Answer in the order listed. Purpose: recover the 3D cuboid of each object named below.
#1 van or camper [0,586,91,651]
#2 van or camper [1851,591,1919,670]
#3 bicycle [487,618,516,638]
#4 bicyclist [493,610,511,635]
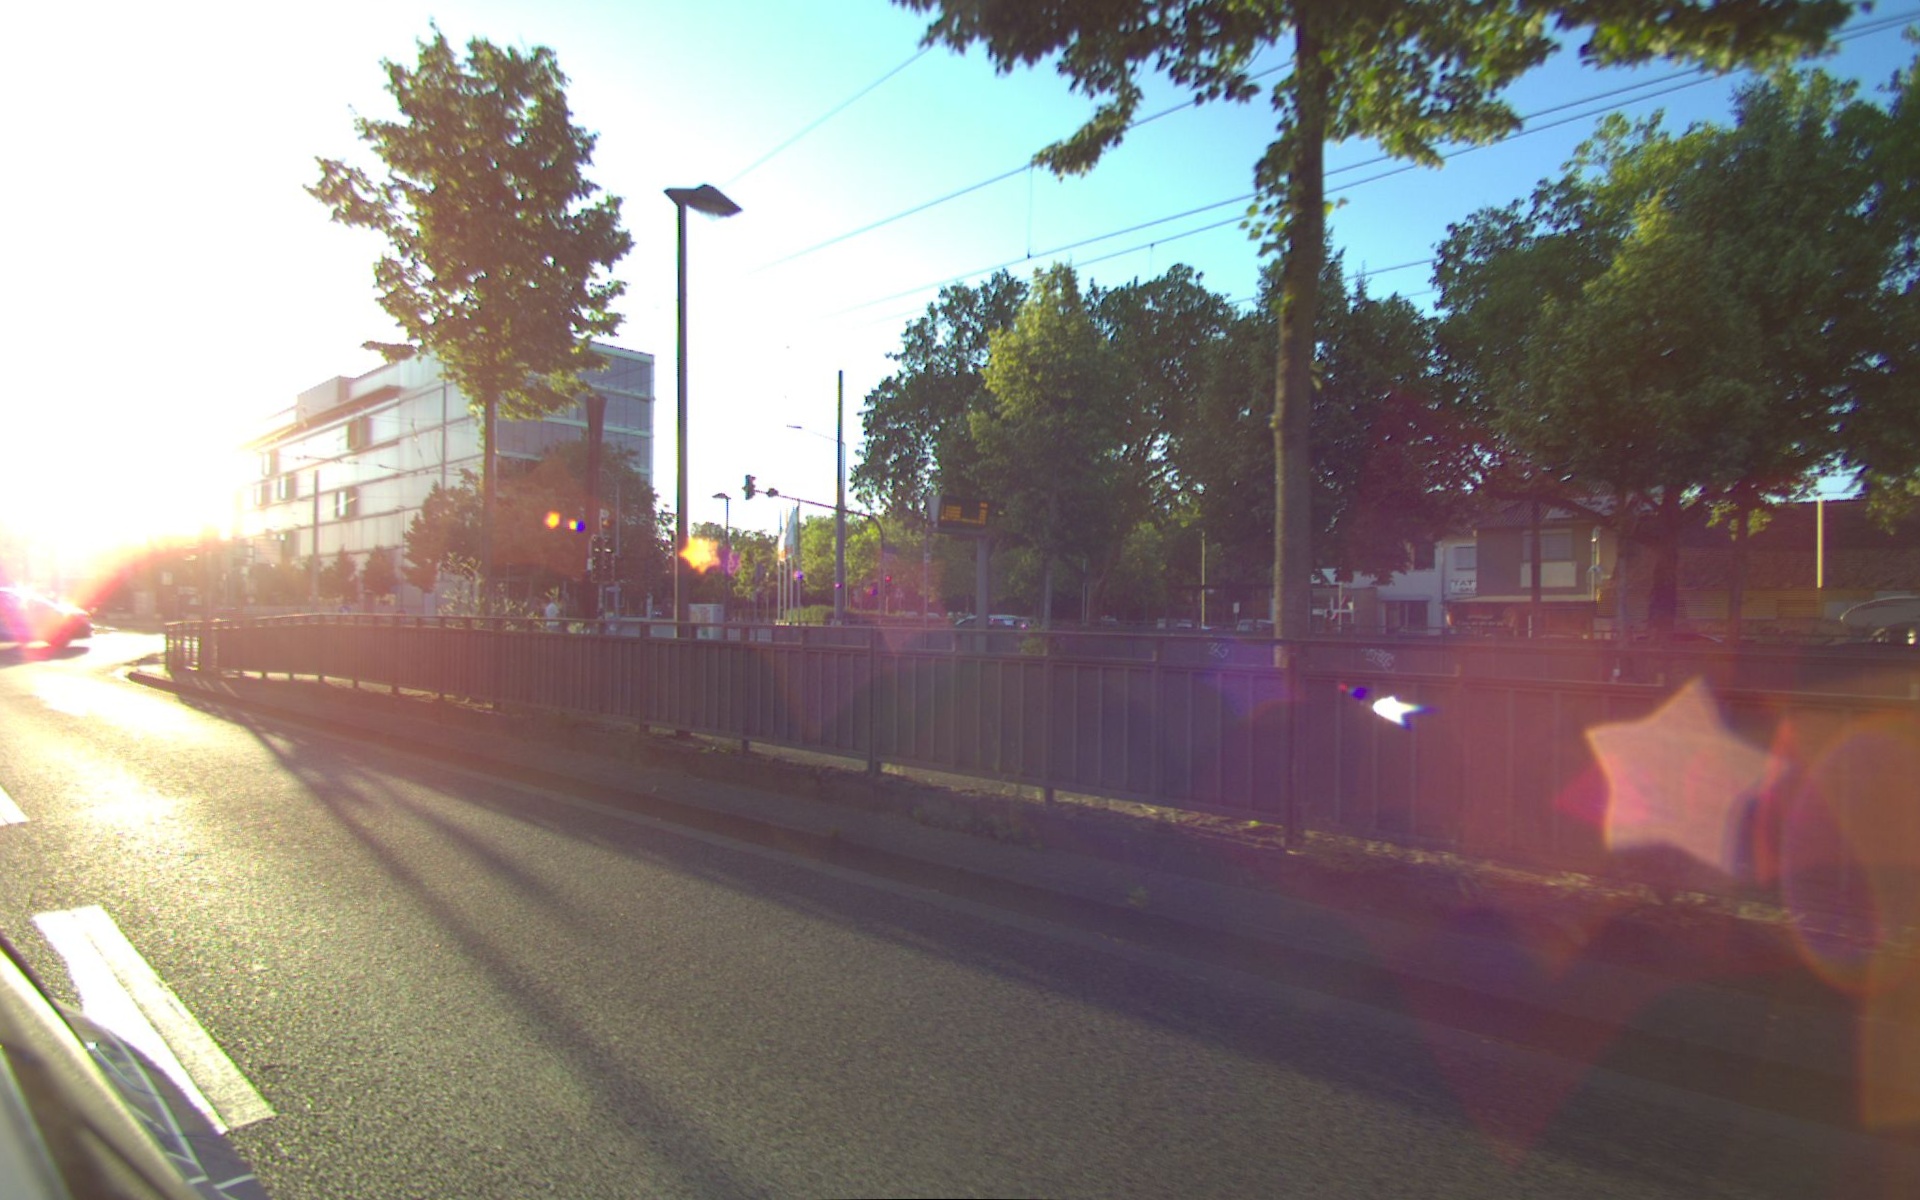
[{"bbox_3d":[-30.464,0.575,31.642,2.000,2.029,4.820,0,0,43],"label":"van or camper"},{"bbox_3d":[33.062,1.018,33.108,2.363,2.582,5.639,2,-1,-42],"label":"van or camper"},{"bbox_3d":[-24.679,1.515,54.529,0.646,1.012,1.788,-1,0,5],"label":"bicycle"},{"bbox_3d":[-24.688,1.209,54.505,0.646,1.327,0.640,-1,0,6],"label":"bicyclist"}]
